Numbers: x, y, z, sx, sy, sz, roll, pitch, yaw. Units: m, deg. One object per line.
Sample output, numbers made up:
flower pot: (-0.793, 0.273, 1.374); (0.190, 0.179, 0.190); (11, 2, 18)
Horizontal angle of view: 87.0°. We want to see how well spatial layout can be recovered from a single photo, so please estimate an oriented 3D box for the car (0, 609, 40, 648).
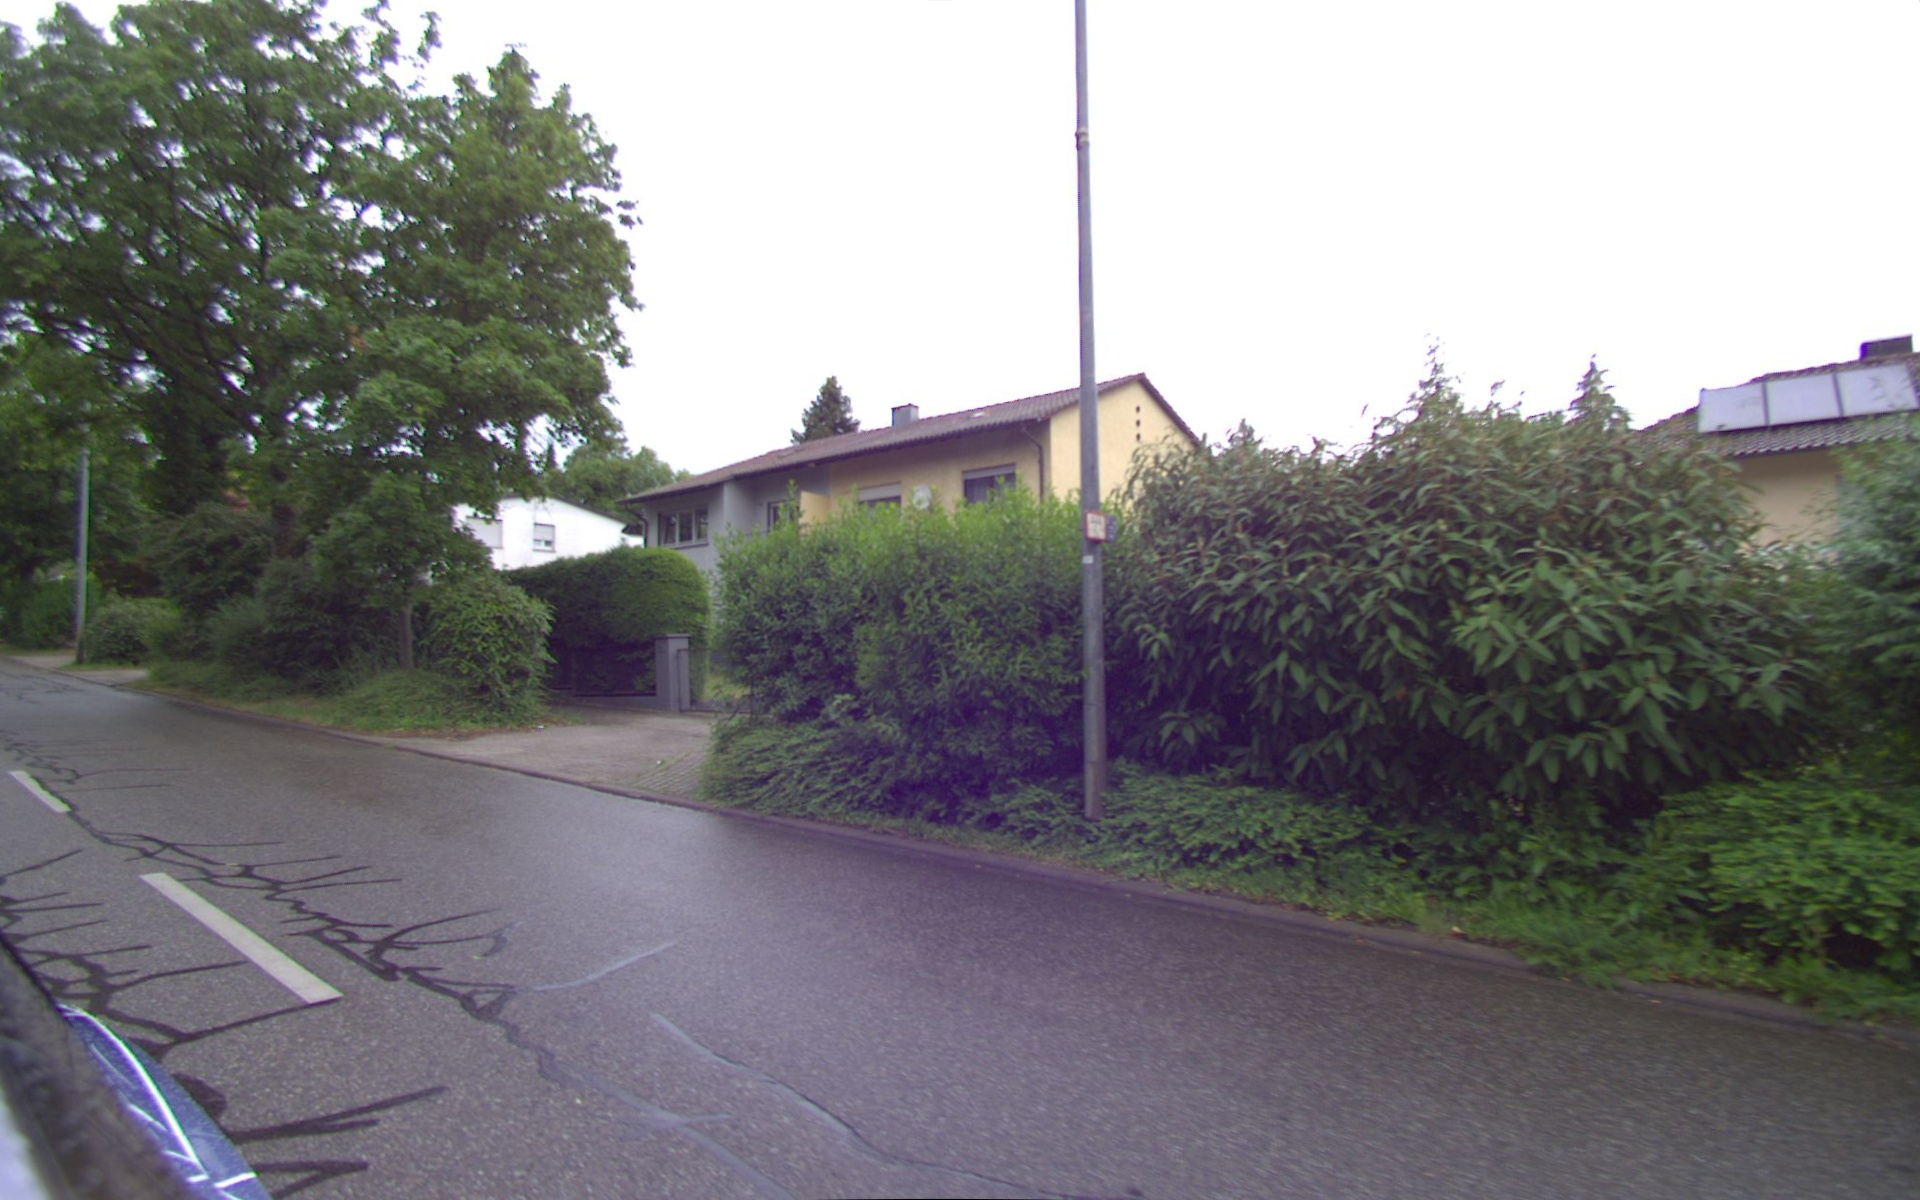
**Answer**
car: (-41.263, 1.193, 43.570); (4.277, 1.553, 1.648); (0, 1, 37)
